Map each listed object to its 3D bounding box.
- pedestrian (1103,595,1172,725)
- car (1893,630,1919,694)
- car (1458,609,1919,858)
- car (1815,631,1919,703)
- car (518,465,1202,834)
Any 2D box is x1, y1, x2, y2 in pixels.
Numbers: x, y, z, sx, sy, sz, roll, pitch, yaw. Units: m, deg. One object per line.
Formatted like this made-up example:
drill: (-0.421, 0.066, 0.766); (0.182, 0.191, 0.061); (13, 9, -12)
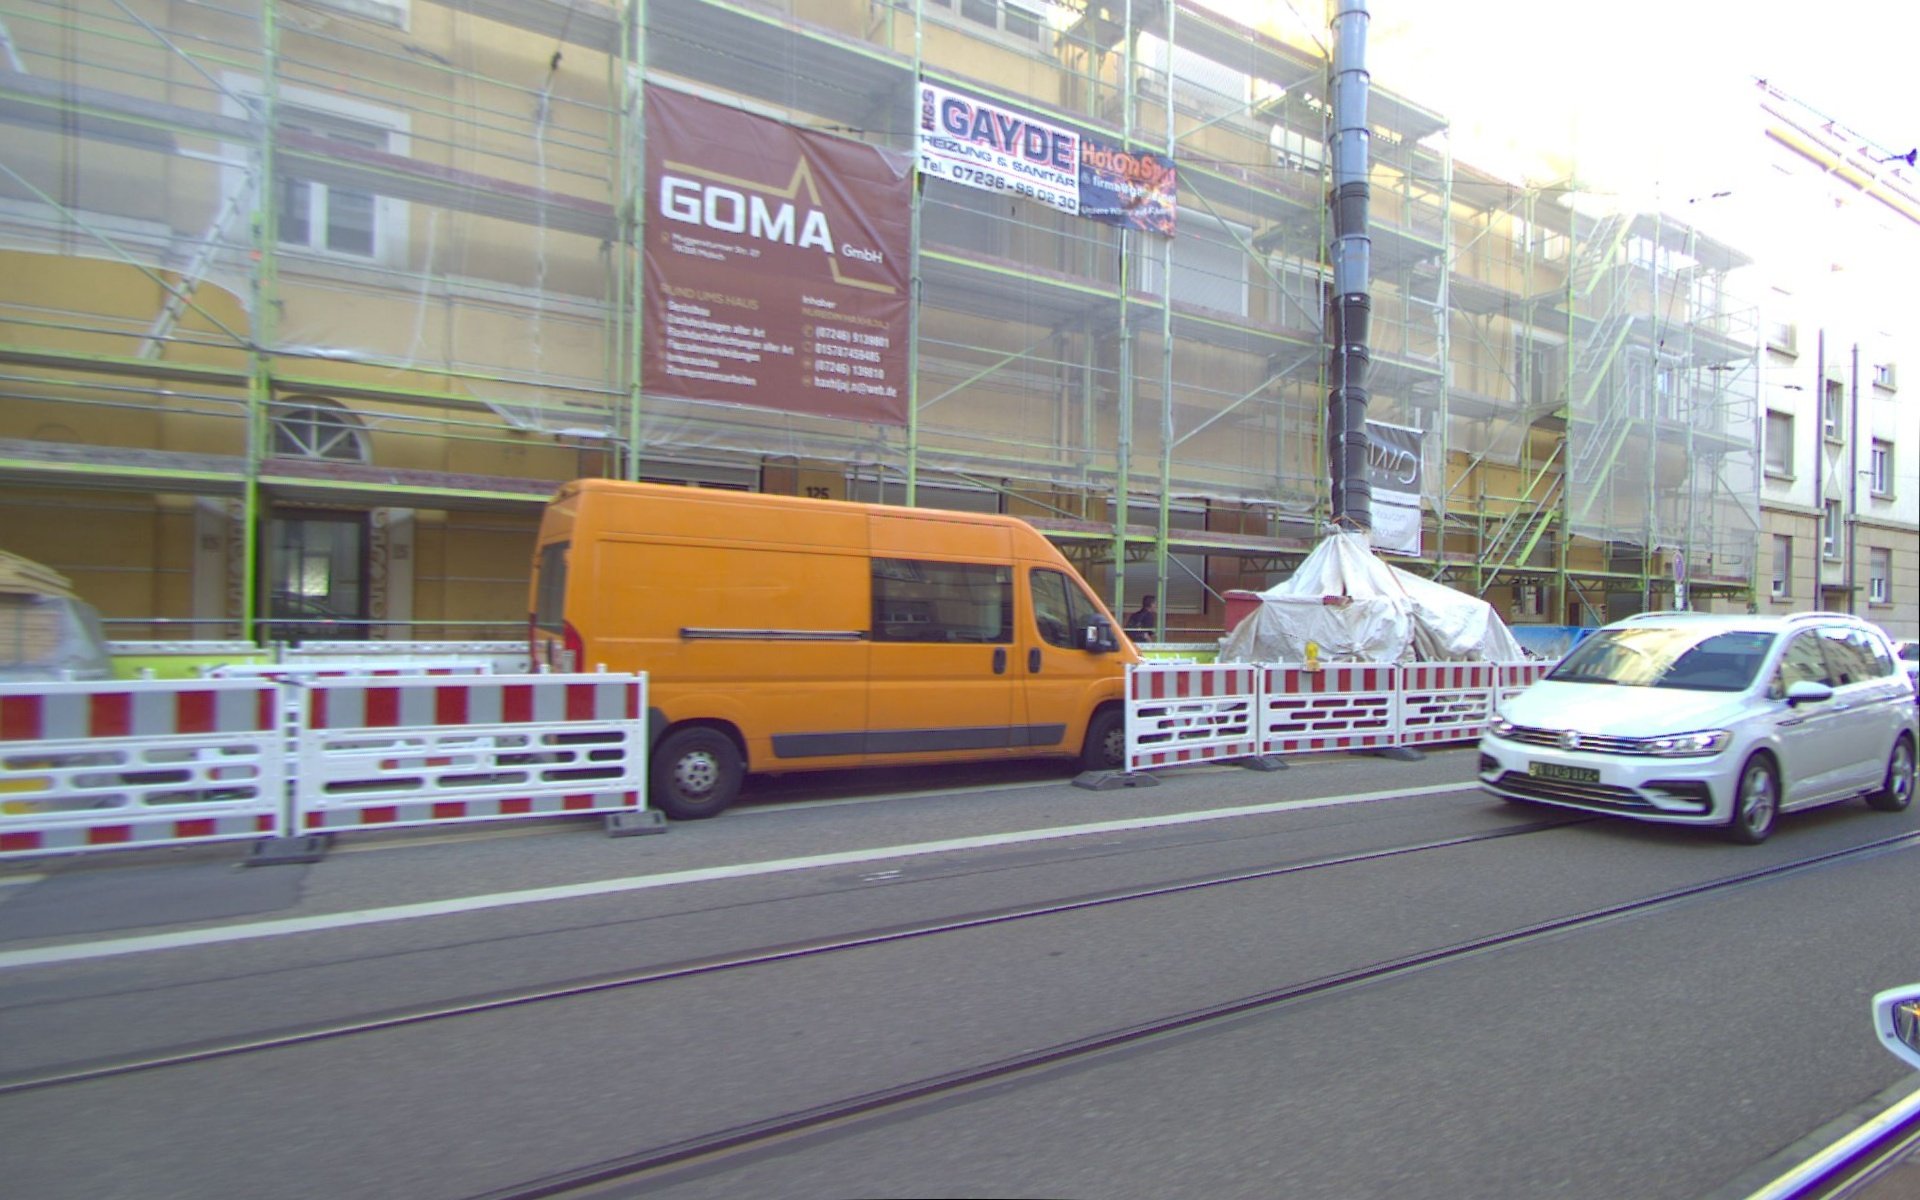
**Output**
pedestrian: (2.429, 0.804, 13.748); (0.708, 1.717, 0.578); (1, -1, -30)
car: (25.985, 1.600, 25.874); (4.354, 1.588, 1.691); (1, -1, -30)
car: (6.180, 0.920, 8.338); (4.155, 1.589, 1.811); (2, -2, -32)
car: (21.971, 1.546, 23.525); (3.953, 1.434, 1.691); (2, 2, -30)
car: (-0.713, 0.421, 9.243); (5.929, 2.502, 2.110); (1, -2, -30)
